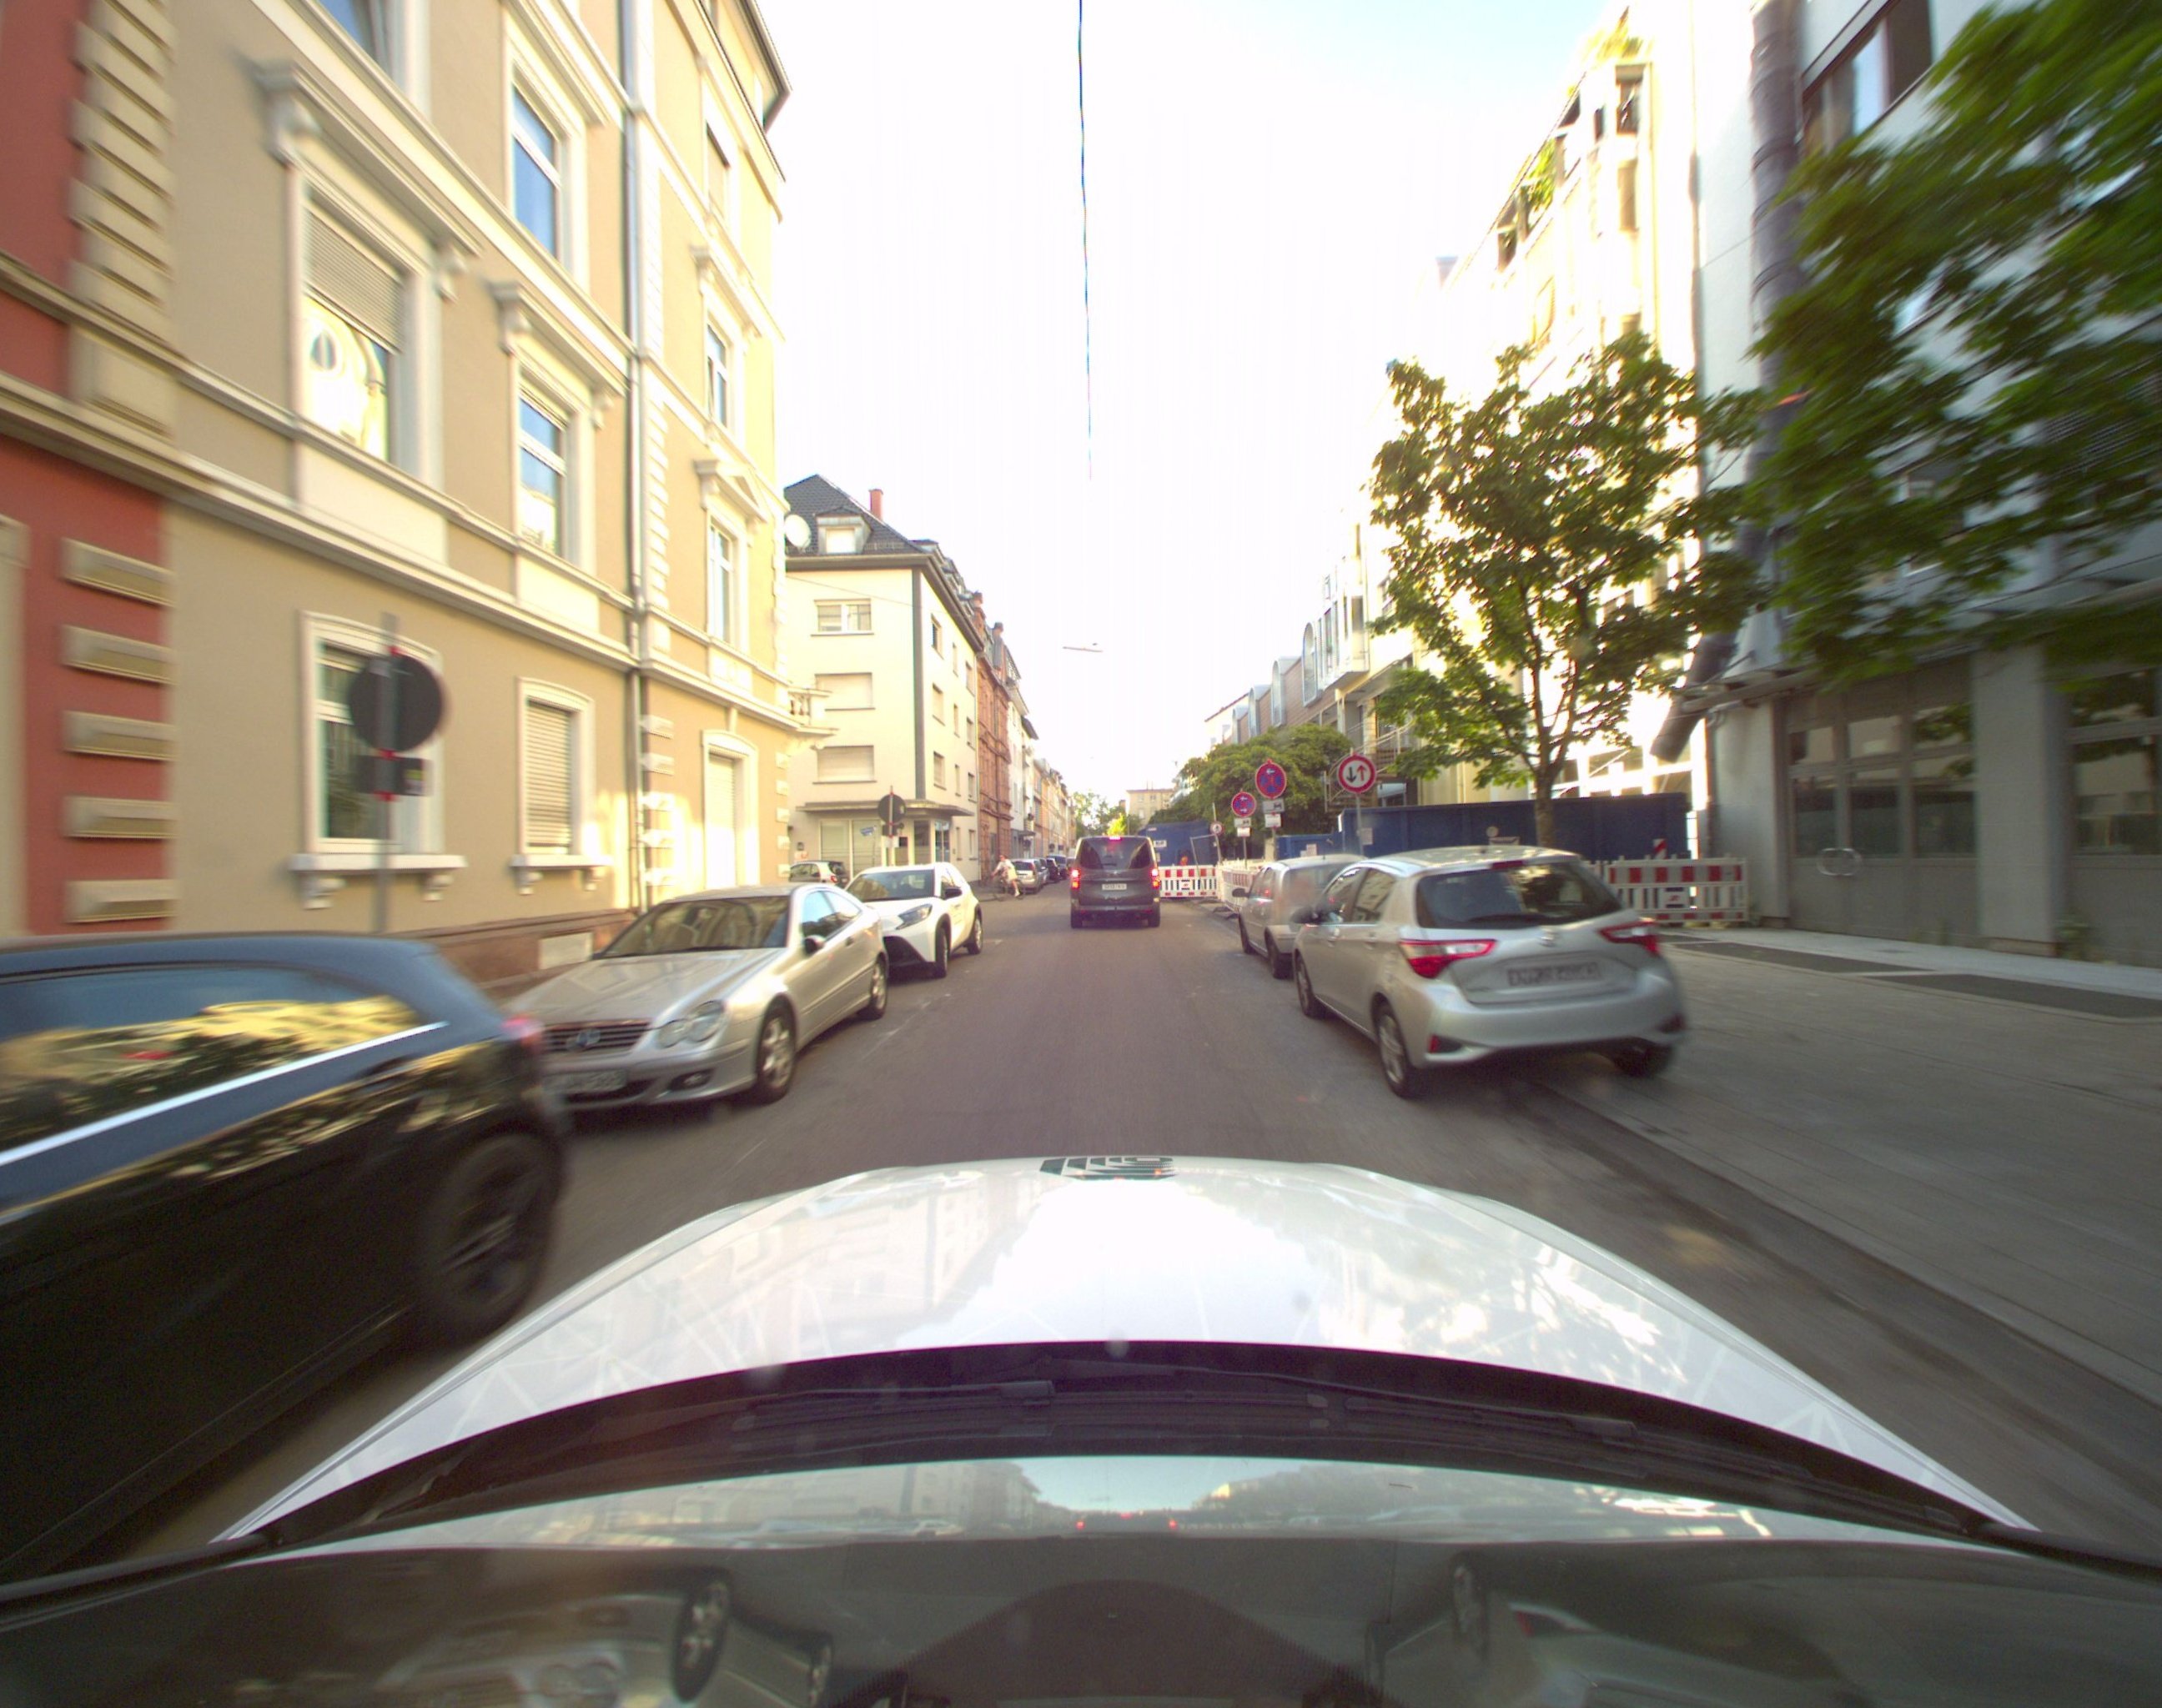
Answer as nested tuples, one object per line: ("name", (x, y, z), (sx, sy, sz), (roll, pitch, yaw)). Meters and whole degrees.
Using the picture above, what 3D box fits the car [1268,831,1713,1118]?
("car", (2.731, 0.695, 6.534), (1.669, 1.525, 3.973), (-3, -1, 3))

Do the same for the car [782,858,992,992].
("car", (-2.594, 0.877, 12.040), (1.914, 1.507, 4.268), (-3, 0, 1))

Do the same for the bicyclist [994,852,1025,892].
("bicyclist", (-2.566, 0.652, 29.231), (0.726, 1.412, 0.946), (0, -1, 26))

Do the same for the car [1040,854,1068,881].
("car", (-2.005, 0.997, 60.583), (1.887, 1.847, 4.345), (4, -1, -2))

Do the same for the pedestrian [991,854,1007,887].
("pedestrian", (-4.213, 0.827, 41.832), (0.738, 1.664, 0.703), (-1, -1, -3))

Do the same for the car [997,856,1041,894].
("car", (-2.619, 0.913, 35.145), (1.652, 1.460, 3.415), (4, -1, -2))

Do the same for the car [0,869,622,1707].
("car", (-2.909, 0.852, 1.213), (1.914, 1.484, 4.267), (-3, 0, 0))

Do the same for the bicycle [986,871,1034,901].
("bicycle", (-2.531, 1.138, 29.301), (0.726, 1.028, 2.127), (0, -1, 26))

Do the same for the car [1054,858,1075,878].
("car", (-1.684, 1.392, 80.763), (1.887, 1.847, 4.345), (4, -1, -2))

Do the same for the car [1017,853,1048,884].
("car", (-2.797, 0.844, 47.588), (1.662, 1.666, 3.089), (4, -1, -2))

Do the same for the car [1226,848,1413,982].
("car", (3.080, 0.721, 11.258), (1.669, 1.476, 3.733), (-3, -1, 4))

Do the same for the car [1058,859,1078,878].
("car", (-1.393, 1.487, 85.683), (1.887, 1.847, 4.345), (4, -1, -2))

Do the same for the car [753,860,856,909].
("car", (-9.077, 0.982, 26.874), (2.776, 1.540, 1.594), (0, -1, 1))

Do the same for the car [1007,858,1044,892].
("car", (-2.725, 1.019, 40.473), (1.652, 1.525, 3.415), (4, -1, -2))

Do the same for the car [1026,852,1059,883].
("car", (-2.399, 0.861, 51.220), (1.887, 1.720, 3.750), (4, -1, -2))

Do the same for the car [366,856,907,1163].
("car", (-2.882, 0.853, 6.579), (1.914, 1.560, 4.267), (-3, 0, 0))

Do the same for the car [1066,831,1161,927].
("car", (0.753, 0.536, 18.200), (1.857, 1.886, 4.238), (0, -1, 3))
